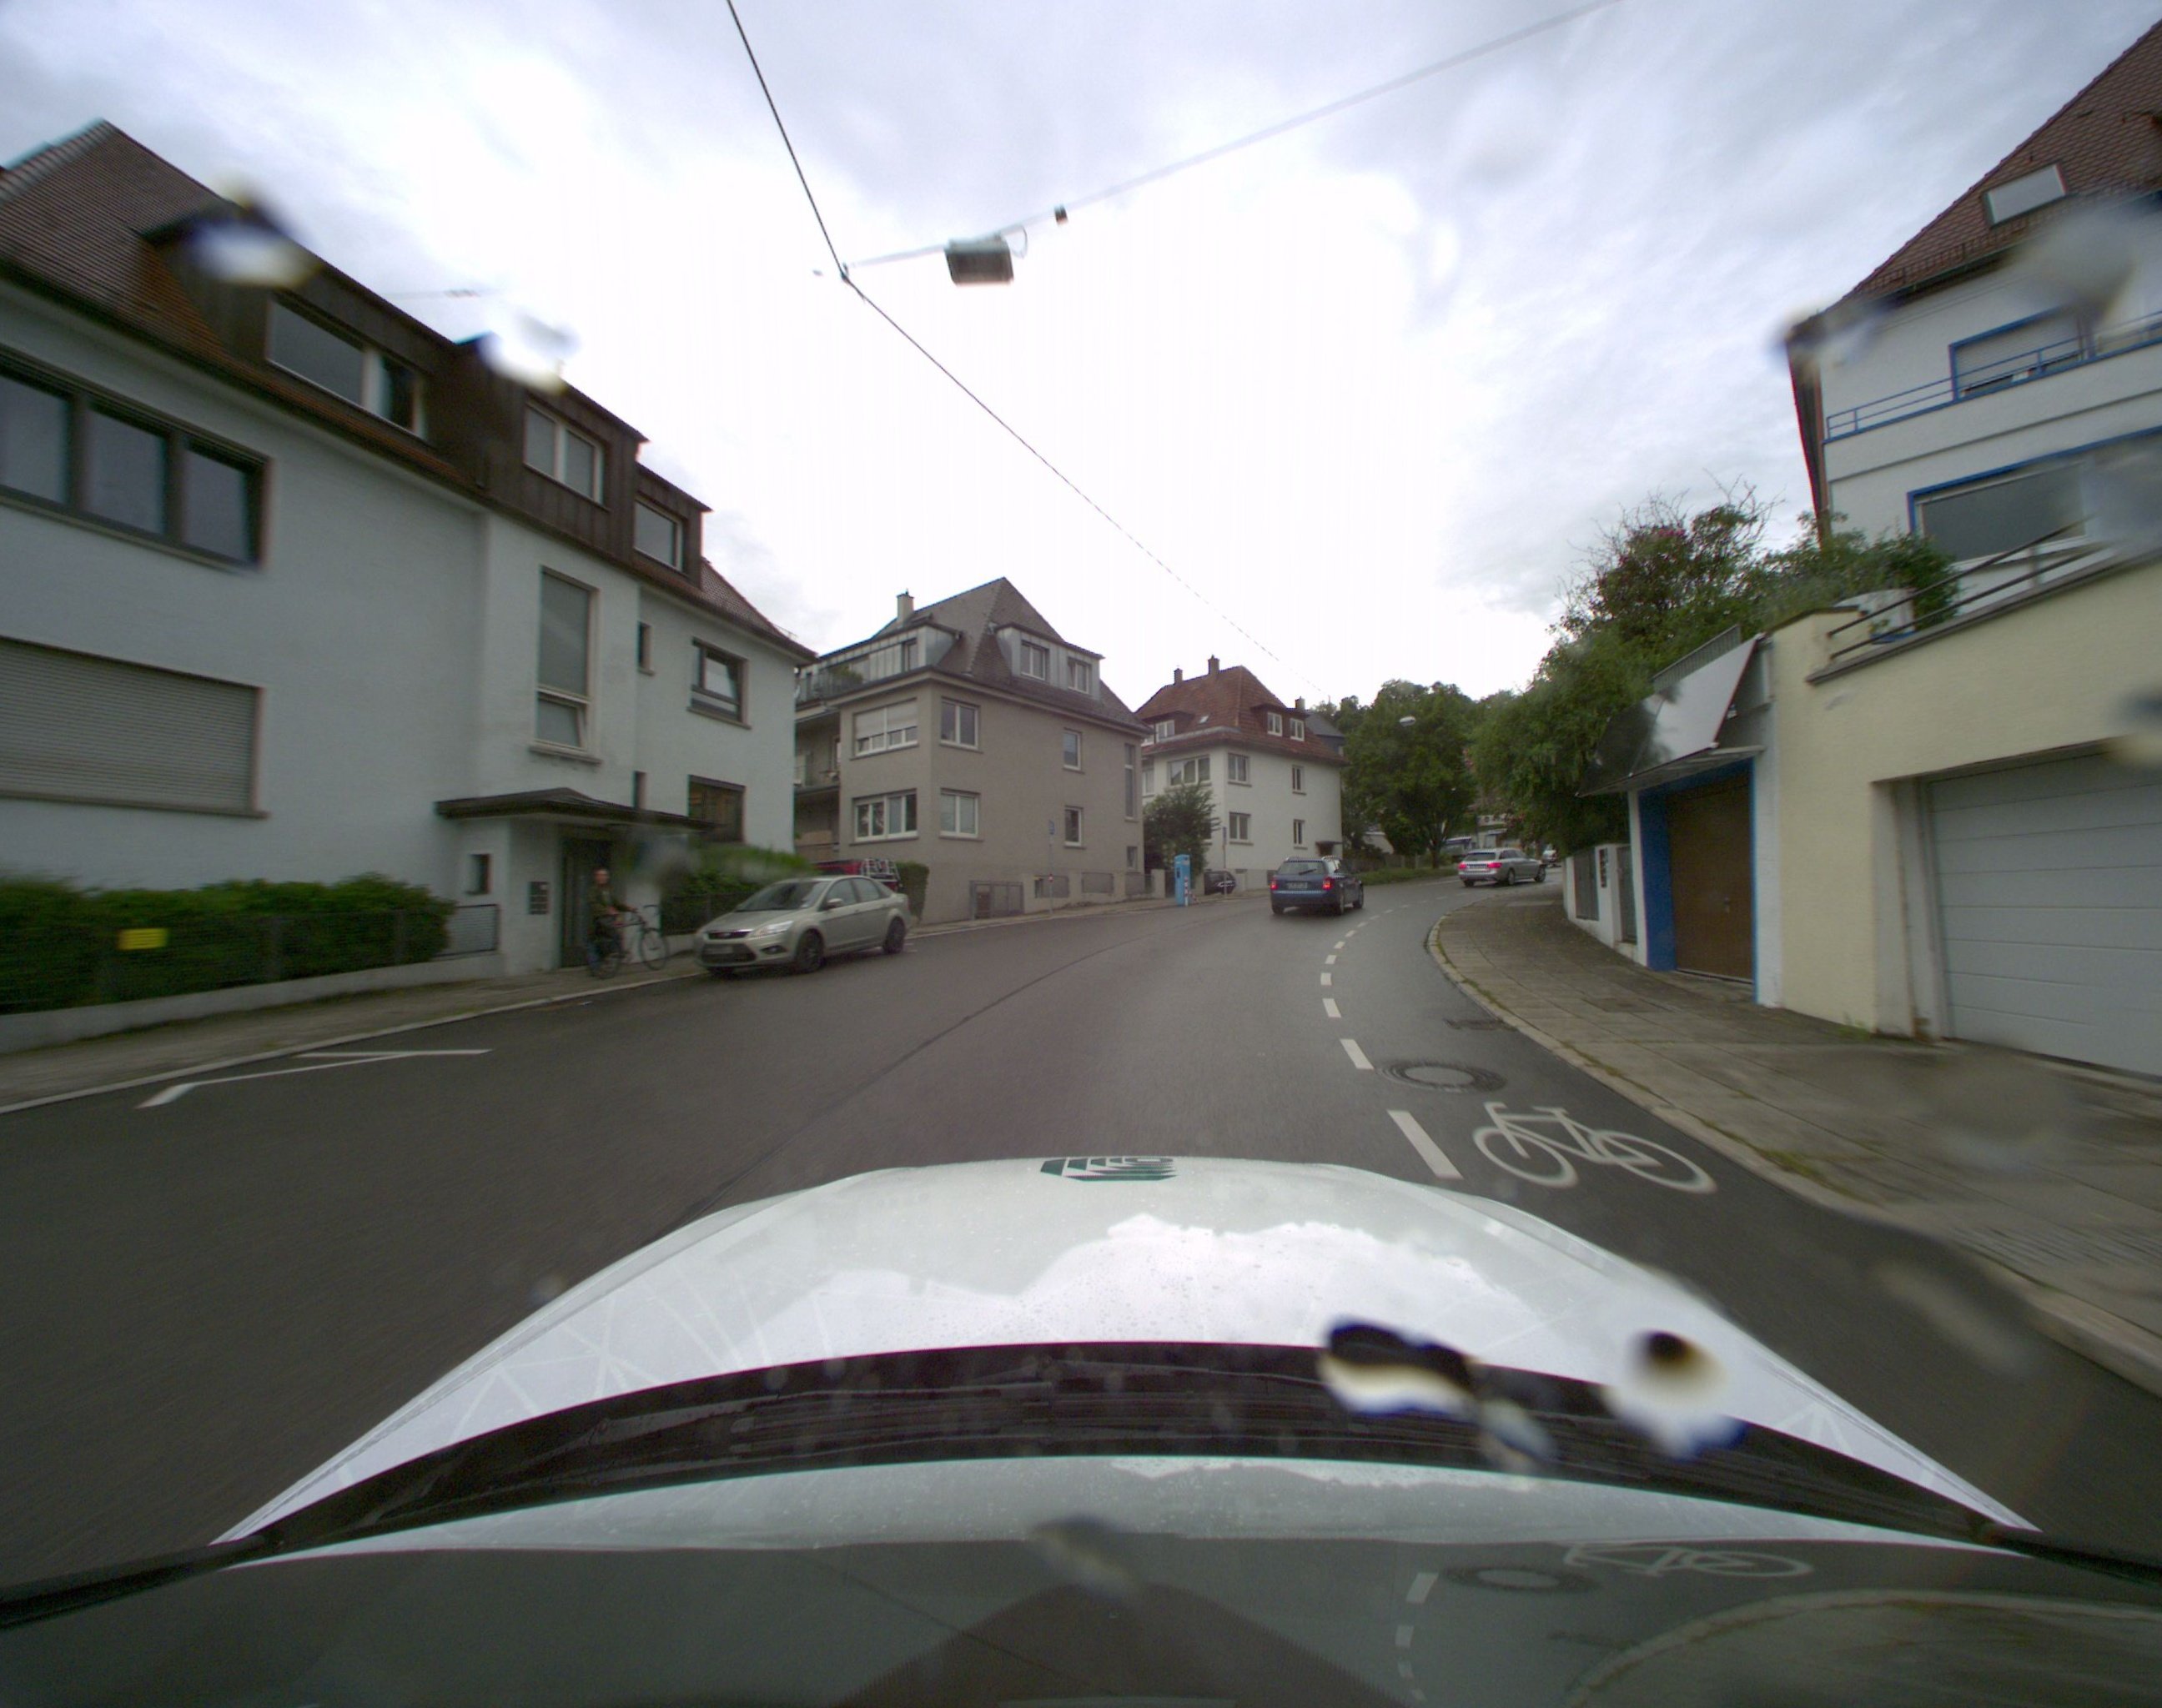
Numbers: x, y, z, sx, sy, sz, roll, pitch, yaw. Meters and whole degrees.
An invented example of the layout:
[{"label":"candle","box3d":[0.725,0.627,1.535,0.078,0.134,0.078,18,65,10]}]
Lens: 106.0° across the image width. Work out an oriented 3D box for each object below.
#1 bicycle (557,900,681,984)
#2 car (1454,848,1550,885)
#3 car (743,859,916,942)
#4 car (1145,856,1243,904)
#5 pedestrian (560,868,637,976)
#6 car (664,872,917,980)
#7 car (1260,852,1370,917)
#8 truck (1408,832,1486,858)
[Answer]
[{"label":"bicycle","box3d":[-6.960,1.289,12.388,0.453,1.067,1.928,-1,0,12]},{"label":"car","box3d":[16.532,0.459,31.927,4.019,1.360,1.797,-1,0,-37]},{"label":"car","box3d":[-6.822,1.257,22.162,3.952,1.823,2.011,-6,-2,21]},{"label":"car","box3d":[5.348,1.274,38.904,2.011,1.624,4.202,-1,-9,-42]},{"label":"pedestrian","box3d":[-7.409,1.017,12.536,0.489,1.577,0.951,-1,0,12]},{"label":"car","box3d":[-4.606,1.090,13.685,1.822,1.425,4.247,-3,-1,16]},{"label":"car","box3d":[6.207,0.719,21.273,1.794,1.439,4.107,0,1,30]},{"label":"truck","box3d":[33.790,-0.750,75.457,2.318,2.269,6.755,-1,0,-24]}]
